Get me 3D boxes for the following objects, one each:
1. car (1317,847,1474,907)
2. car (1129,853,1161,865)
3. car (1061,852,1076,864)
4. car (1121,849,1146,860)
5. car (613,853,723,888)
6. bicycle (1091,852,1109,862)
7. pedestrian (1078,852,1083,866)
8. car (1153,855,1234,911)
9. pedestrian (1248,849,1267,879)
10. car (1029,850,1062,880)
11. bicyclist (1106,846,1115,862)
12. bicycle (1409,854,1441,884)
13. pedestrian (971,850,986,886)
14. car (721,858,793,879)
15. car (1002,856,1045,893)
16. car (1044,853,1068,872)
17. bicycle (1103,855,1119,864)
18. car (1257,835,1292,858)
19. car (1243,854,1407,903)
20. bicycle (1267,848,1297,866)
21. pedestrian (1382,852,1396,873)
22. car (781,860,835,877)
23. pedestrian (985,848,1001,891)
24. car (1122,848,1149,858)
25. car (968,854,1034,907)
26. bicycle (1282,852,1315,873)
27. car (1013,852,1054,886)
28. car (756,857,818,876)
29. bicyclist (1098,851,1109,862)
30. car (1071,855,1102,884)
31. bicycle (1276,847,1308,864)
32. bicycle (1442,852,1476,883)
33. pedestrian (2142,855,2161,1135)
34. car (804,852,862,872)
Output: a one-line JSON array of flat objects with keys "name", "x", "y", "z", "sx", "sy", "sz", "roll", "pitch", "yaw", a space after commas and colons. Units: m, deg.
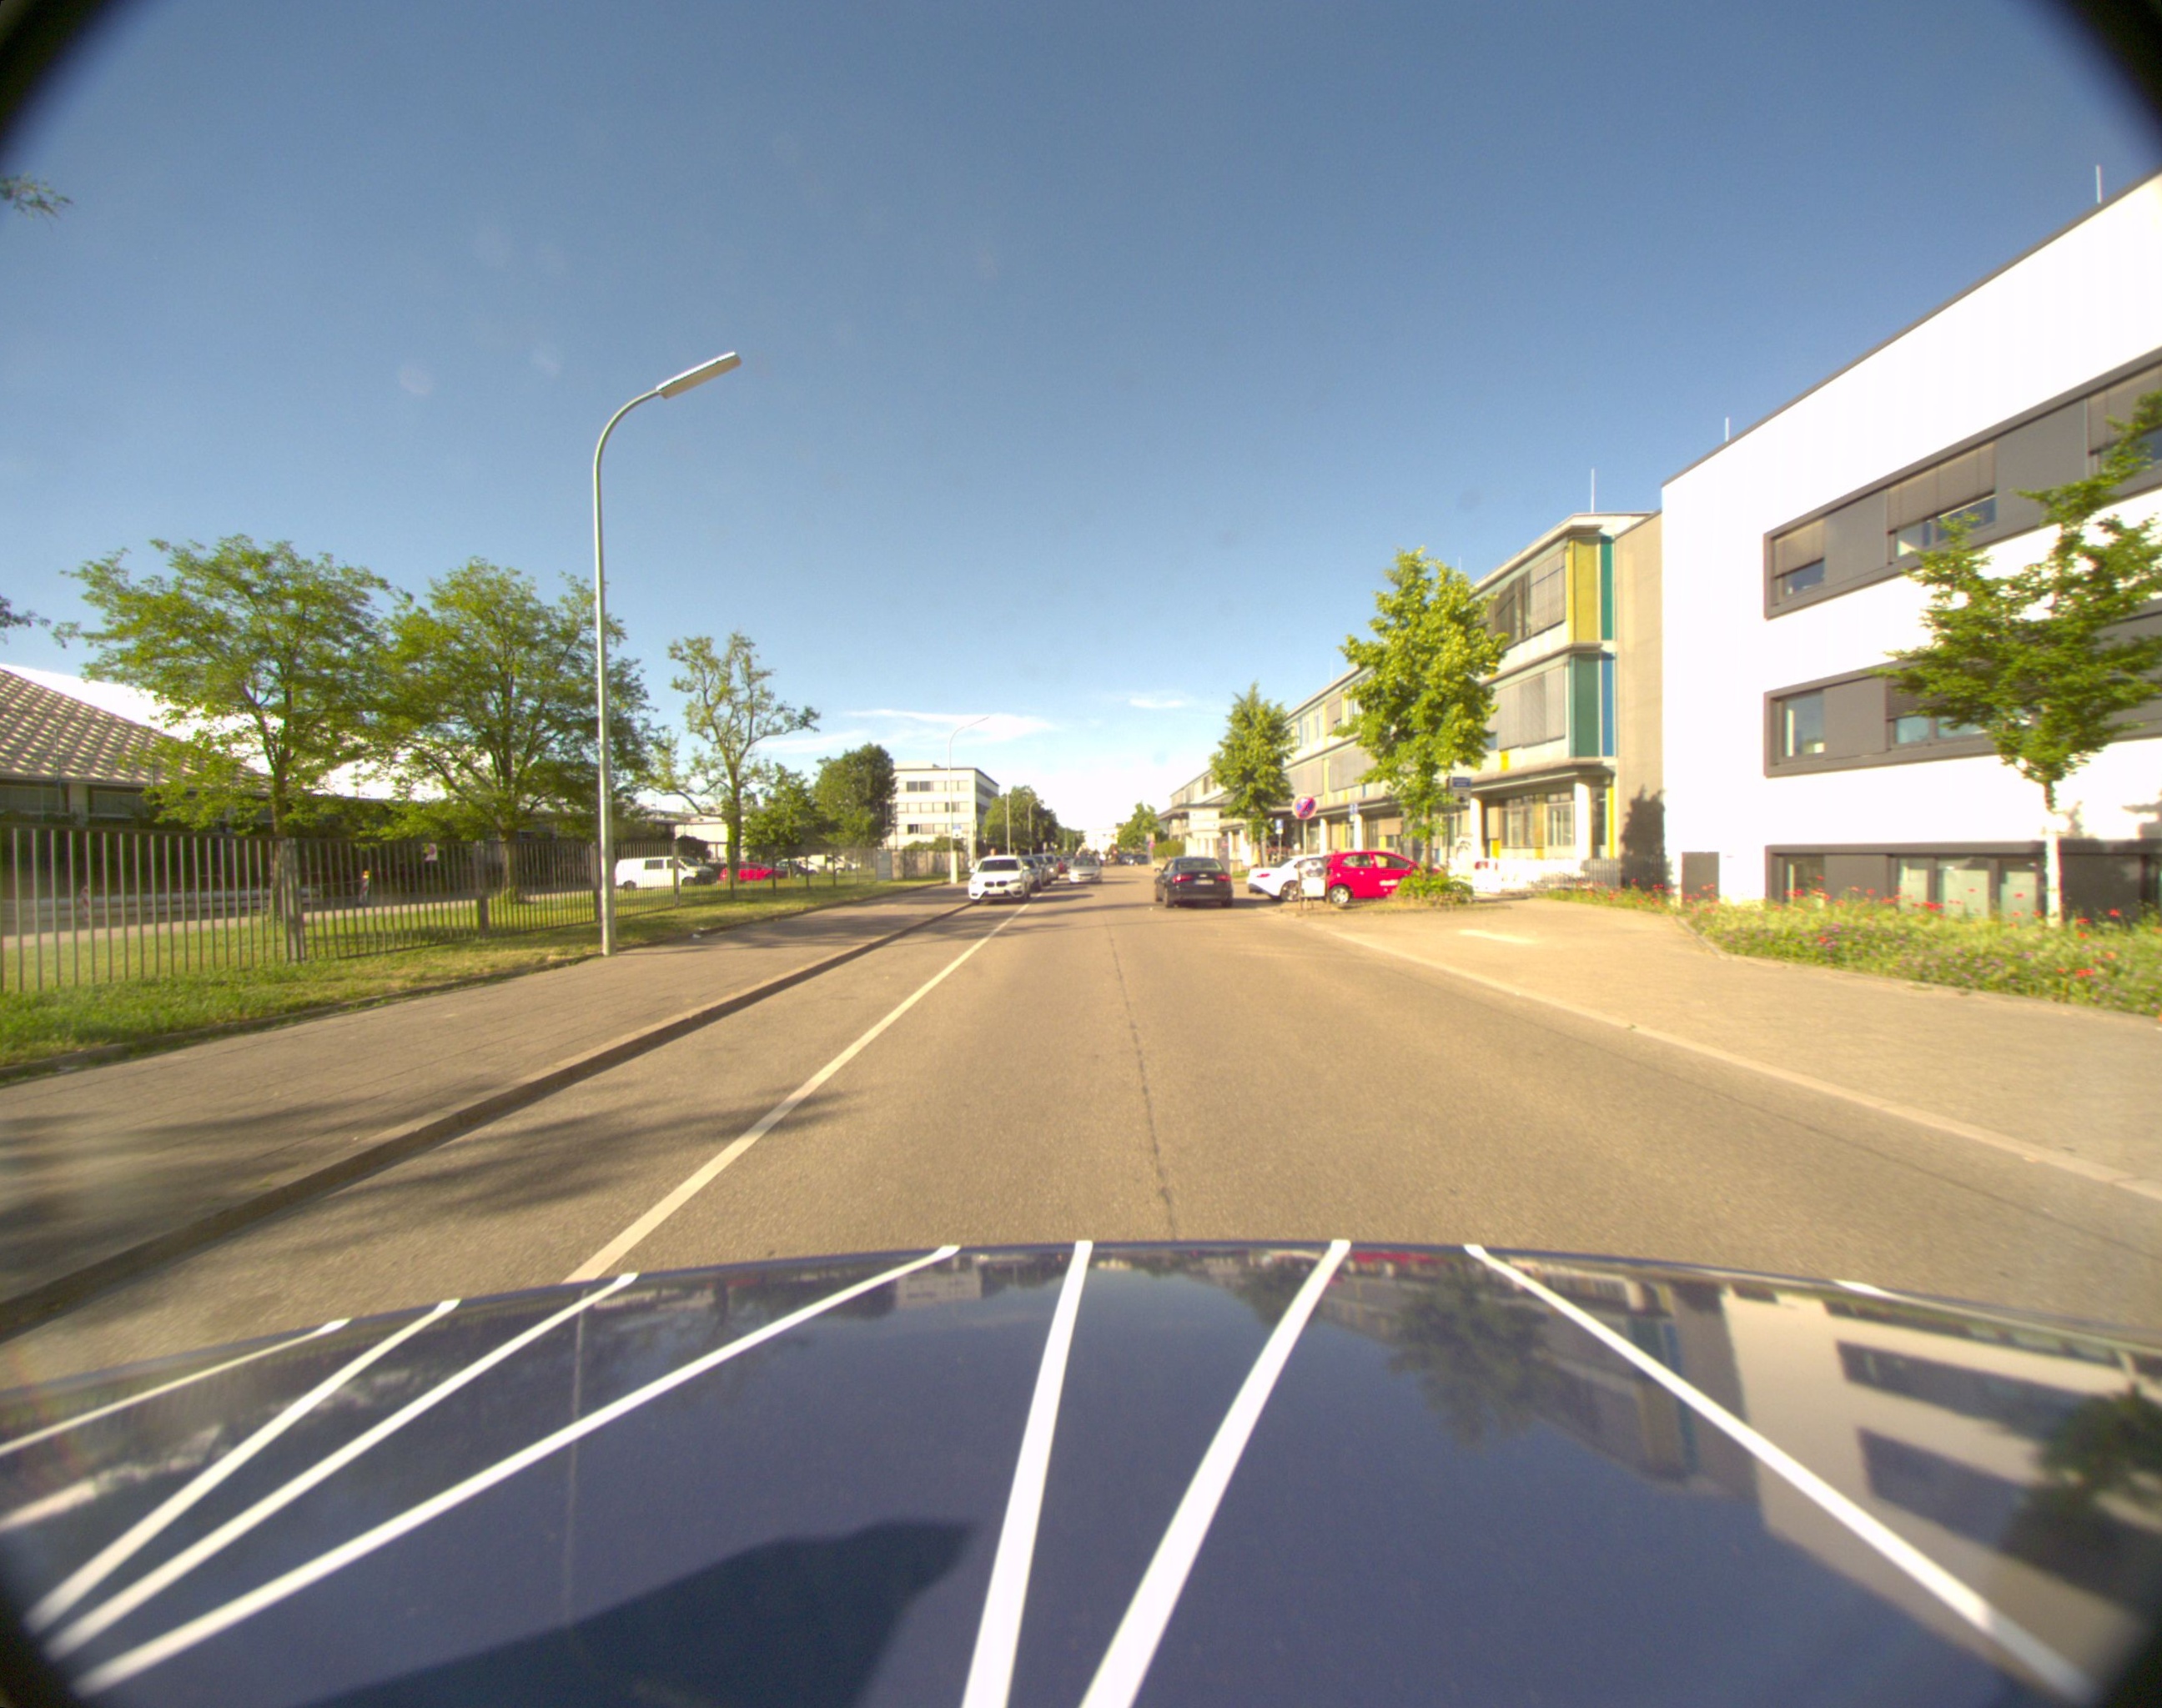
[{"name": "car", "x": 8.566, "y": 0.616, "z": 20.950, "sx": 3.642, "sy": 1.460, "sz": 1.615, "roll": -2, "pitch": 0, "yaw": 7}, {"name": "car", "x": 8.575, "y": 0.667, "z": 102.377, "sx": 4.142, "sy": 1.458, "sz": 1.753, "roll": -2, "pitch": 1, "yaw": -1}, {"name": "car", "x": -1.631, "y": 0.526, "z": 98.728, "sx": 1.668, "sy": 1.505, "sz": 4.114, "roll": -3, "pitch": 0, "yaw": 1}, {"name": "car", "x": 9.604, "y": 0.137, "z": 139.266, "sx": 4.358, "sy": 1.852, "sz": 2.000, "roll": -3, "pitch": 0, "yaw": 2}, {"name": "car", "x": -23.477, "y": 0.910, "z": 43.327, "sx": 4.979, "sy": 1.635, "sz": 2.095, "roll": -3, "pitch": 1, "yaw": -2}, {"name": "bicycle", "x": 2.179, "y": 0.375, "z": 88.107, "sx": 1.899, "sy": 1.136, "sz": 0.668, "roll": -1, "pitch": 1, "yaw": 16}, {"name": "pedestrian", "x": -0.062, "y": 0.634, "z": 93.649, "sx": 0.693, "sy": 1.719, "sz": 0.775, "roll": 0, "pitch": 1, "yaw": 0}, {"name": "car", "x": 3.224, "y": 0.790, "z": 22.575, "sx": 1.766, "sy": 1.433, "sz": 4.537, "roll": -1, "pitch": 0, "yaw": 0}, {"name": "pedestrian", "x": 9.206, "y": 0.512, "z": 39.686, "sx": 0.774, "sy": 1.540, "sz": 0.780, "roll": -3, "pitch": 1, "yaw": 1}, {"name": "car", "x": -2.239, "y": 0.665, "z": 49.049, "sx": 1.813, "sy": 1.712, "sz": 4.704, "roll": -3, "pitch": 0, "yaw": 0}, {"name": "bicyclist", "x": 3.658, "y": -0.016, "z": 93.898, "sx": 1.052, "sy": 2.002, "sz": 0.959, "roll": -1, "pitch": 1, "yaw": -3}, {"name": "bicycle", "x": 13.405, "y": 0.564, "z": 29.655, "sx": 0.535, "sy": 1.105, "sz": 1.861, "roll": -1, "pitch": 0, "yaw": 4}, {"name": "pedestrian", "x": -4.716, "y": 0.650, "z": 35.063, "sx": 0.540, "sy": 1.602, "sz": 0.683, "roll": -3, "pitch": 1, "yaw": -2}, {"name": "car", "x": -22.656, "y": 1.011, "z": 53.230, "sx": 4.153, "sy": 1.245, "sz": 1.828, "roll": -3, "pitch": 1, "yaw": -2}, {"name": "car", "x": -2.509, "y": 0.874, "z": 34.018, "sx": 1.705, "sy": 1.479, "sz": 3.979, "roll": -3, "pitch": 0, "yaw": -2}, {"name": "car", "x": -2.108, "y": 0.693, "z": 65.427, "sx": 1.813, "sy": 1.501, "sz": 4.721, "roll": -3, "pitch": 0, "yaw": 0}, {"name": "bicycle", "x": 3.692, "y": 0.653, "z": 93.891, "sx": 1.884, "sy": 1.003, "sz": 0.701, "roll": -1, "pitch": 1, "yaw": -3}, {"name": "car", "x": 17.053, "y": -0.640, "z": 67.131, "sx": 1.924, "sy": 1.880, "sz": 4.711, "roll": -1, "pitch": 0, "yaw": 0}, {"name": "car", "x": 7.458, "y": 0.748, "z": 23.537, "sx": 4.522, "sy": 1.359, "sz": 1.700, "roll": -1, "pitch": 1, "yaw": 3}, {"name": "bicycle", "x": 12.345, "y": 0.184, "z": 46.703, "sx": 1.719, "sy": 1.049, "sz": 0.536, "roll": -1, "pitch": 1, "yaw": -1}, {"name": "pedestrian", "x": 17.021, "y": 0.462, "z": 42.027, "sx": 0.533, "sy": 1.166, "sz": 0.556, "roll": -1, "pitch": 1, "yaw": 2}, {"name": "car", "x": -23.120, "y": 1.222, "z": 64.449, "sx": 3.899, "sy": 1.371, "sz": 1.675, "roll": -1, "pitch": 0, "yaw": -2}, {"name": "pedestrian", "x": -3.559, "y": 0.614, "z": 30.882, "sx": 0.522, "sy": 1.699, "sz": 0.522, "roll": -3, "pitch": 2, "yaw": -3}, {"name": "car", "x": 8.927, "y": -0.178, "z": 124.535, "sx": 4.101, "sy": 1.415, "sz": 1.823, "roll": -3, "pitch": 1, "yaw": -1}, {"name": "car", "x": -2.668, "y": 0.843, "z": 26.284, "sx": 1.817, "sy": 1.579, "sz": 4.261, "roll": -3, "pitch": 0, "yaw": -1}, {"name": "bicycle", "x": 12.130, "y": 0.464, "z": 42.401, "sx": 1.706, "sy": 1.115, "sz": 0.536, "roll": -1, "pitch": 1, "yaw": 6}, {"name": "car", "x": -2.418, "y": 0.747, "z": 39.773, "sx": 1.705, "sy": 1.597, "sz": 4.353, "roll": -3, "pitch": 0, "yaw": 1}, {"name": "car", "x": -23.260, "y": 0.943, "z": 60.261, "sx": 4.153, "sy": 1.245, "sz": 1.878, "roll": -3, "pitch": 1, "yaw": -2}, {"name": "bicyclist", "x": 2.582, "y": 0.307, "z": 87.700, "sx": 1.098, "sy": 1.261, "sz": 0.863, "roll": -1, "pitch": 1, "yaw": 16}, {"name": "car", "x": 0.295, "y": 0.795, "z": 40.587, "sx": 1.551, "sy": 1.389, "sz": 3.453, "roll": -2, "pitch": 1, "yaw": 0}, {"name": "bicycle", "x": 12.438, "y": 0.095, "z": 44.821, "sx": 1.719, "sy": 0.968, "sz": 0.536, "roll": -1, "pitch": 1, "yaw": -1}, {"name": "bicycle", "x": 14.101, "y": 0.495, "z": 28.394, "sx": 0.421, "sy": 1.117, "sz": 1.764, "roll": -1, "pitch": 0, "yaw": 2}, {"name": "pedestrian", "x": 6.090, "y": 0.761, "z": 3.865, "sx": 0.539, "sy": 1.515, "sz": 0.607, "roll": -1, "pitch": 1, "yaw": 2}, {"name": "car", "x": -22.661, "y": 0.729, "z": 69.548, "sx": 4.642, "sy": 1.658, "sz": 1.999, "roll": -1, "pitch": 0, "yaw": -4}]
